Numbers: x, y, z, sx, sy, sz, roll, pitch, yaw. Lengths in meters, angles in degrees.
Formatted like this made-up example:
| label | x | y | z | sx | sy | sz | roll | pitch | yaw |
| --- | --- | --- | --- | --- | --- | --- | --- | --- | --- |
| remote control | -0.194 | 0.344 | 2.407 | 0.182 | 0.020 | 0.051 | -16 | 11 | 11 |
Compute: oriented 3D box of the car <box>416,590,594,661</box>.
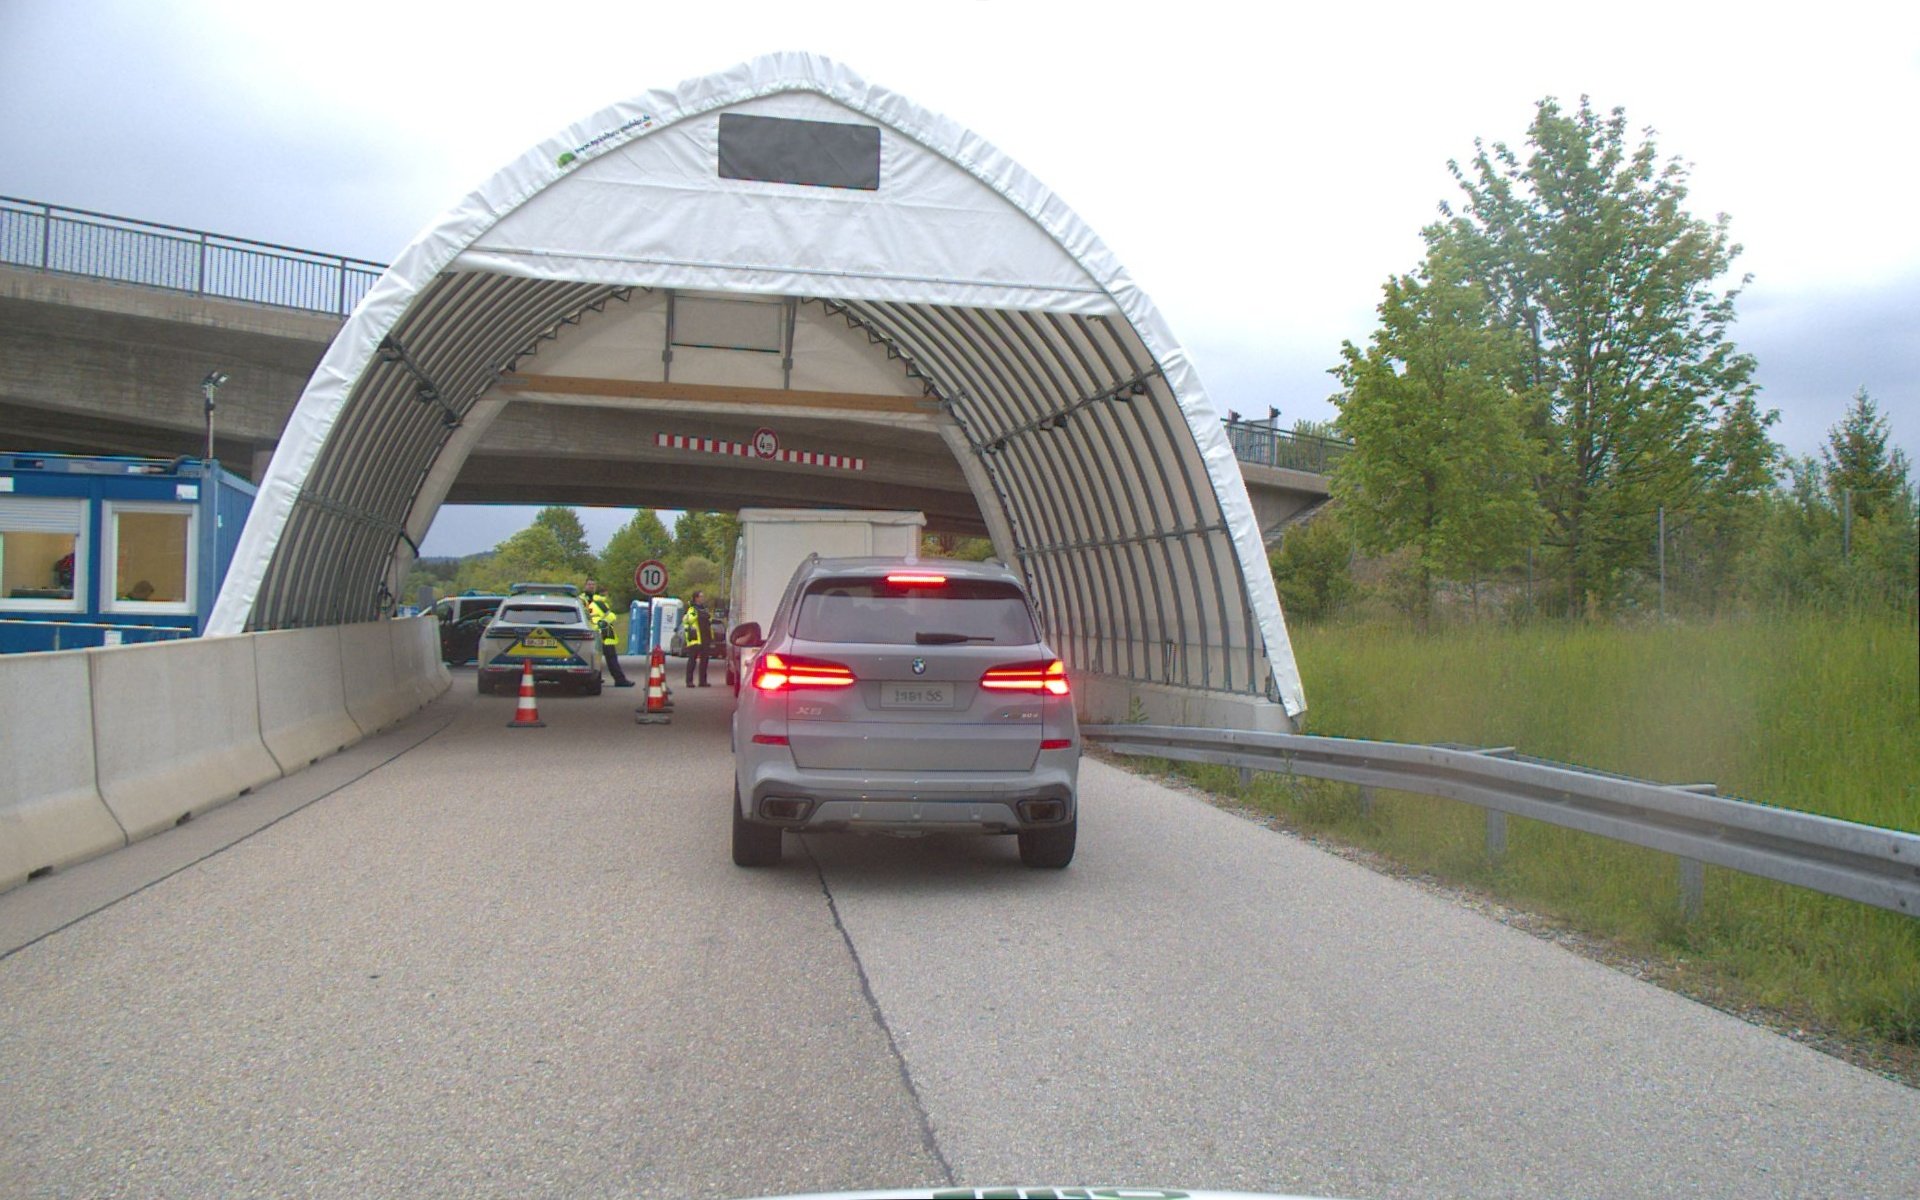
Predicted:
| label | x | y | z | sx | sy | sz | roll | pitch | yaw |
| --- | --- | --- | --- | --- | --- | --- | --- | --- | --- |
| car | -13.413 | 0.746 | 48.840 | 4.703 | 2.049 | 1.842 | 0 | -1 | 7 |

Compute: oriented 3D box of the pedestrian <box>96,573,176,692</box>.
| label | x | y | z | sx | sy | sz | roll | pitch | yaw |
| --- | --- | --- | --- | --- | --- | --- | --- | --- | --- |
| pedestrian | -9.841 | 0.384 | 19.775 | 0.597 | 1.397 | 0.628 | 0 | -1 | 8 |

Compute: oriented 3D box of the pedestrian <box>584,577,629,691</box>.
| label | x | y | z | sx | sy | sz | roll | pitch | yaw |
| --- | --- | --- | --- | --- | --- | --- | --- | --- | --- |
| pedestrian | -6.167 | 0.578 | 28.819 | 0.736 | 1.952 | 0.760 | 0 | -1 | -15 |

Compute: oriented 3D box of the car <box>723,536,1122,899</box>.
| label | x | y | z | sx | sy | sz | roll | pitch | yaw |
| --- | --- | --- | --- | --- | --- | --- | --- | --- | --- |
| car | -0.451 | 0.592 | 10.313 | 1.957 | 1.796 | 3.991 | 0 | 0 | -9 |

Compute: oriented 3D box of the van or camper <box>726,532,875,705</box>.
| label | x | y | z | sx | sy | sz | roll | pitch | yaw |
| --- | --- | --- | --- | --- | --- | --- | --- | --- | --- |
| van or camper | -2.757 | 0.288 | 27.421 | 2.065 | 2.563 | 5.538 | 0 | 0 | -10 |

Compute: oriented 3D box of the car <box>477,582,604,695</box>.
| label | x | y | z | sx | sy | sz | roll | pitch | yaw |
| --- | --- | --- | --- | --- | --- | --- | --- | --- | --- |
| car | -6.750 | 0.577 | 26.625 | 1.846 | 1.675 | 3.984 | 0 | 0 | -15 |

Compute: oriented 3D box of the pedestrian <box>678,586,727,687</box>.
| label | x | y | z | sx | sy | sz | roll | pitch | yaw |
| --- | --- | --- | --- | --- | --- | --- | --- | --- | --- |
| pedestrian | -4.538 | 0.629 | 29.120 | 0.742 | 1.752 | 0.778 | 0 | -1 | -18 |

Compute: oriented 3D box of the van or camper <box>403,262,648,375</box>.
| label | x | y | z | sx | sy | sz | roll | pitch | yaw |
| --- | --- | --- | --- | --- | --- | --- | --- | --- | --- |
| van or camper | -10.322 | -6.650 | 39.601 | 5.400 | 1.801 | 1.869 | 1 | -1 | -40 |

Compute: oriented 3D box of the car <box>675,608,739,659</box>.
| label | x | y | z | sx | sy | sz | roll | pitch | yaw |
| --- | --- | --- | --- | --- | --- | --- | --- | --- | --- |
| car | -8.931 | 1.150 | 58.232 | 1.959 | 1.752 | 3.883 | 0 | 0 | -13 |

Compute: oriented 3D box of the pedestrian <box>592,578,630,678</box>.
| label | x | y | z | sx | sy | sz | roll | pitch | yaw |
| --- | --- | --- | --- | --- | --- | --- | --- | --- | --- |
| pedestrian | -6.310 | 0.501 | 29.902 | 0.597 | 1.784 | 0.665 | 0 | -1 | -6 |

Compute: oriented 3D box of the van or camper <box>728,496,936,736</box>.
| label | x | y | z | sx | sy | sz | roll | pitch | yaw |
| --- | --- | --- | --- | --- | --- | --- | --- | --- | --- |
| van or camper | -1.847 | 0.194 | 21.361 | 2.189 | 2.597 | 6.597 | 0 | 0 | -9 |
